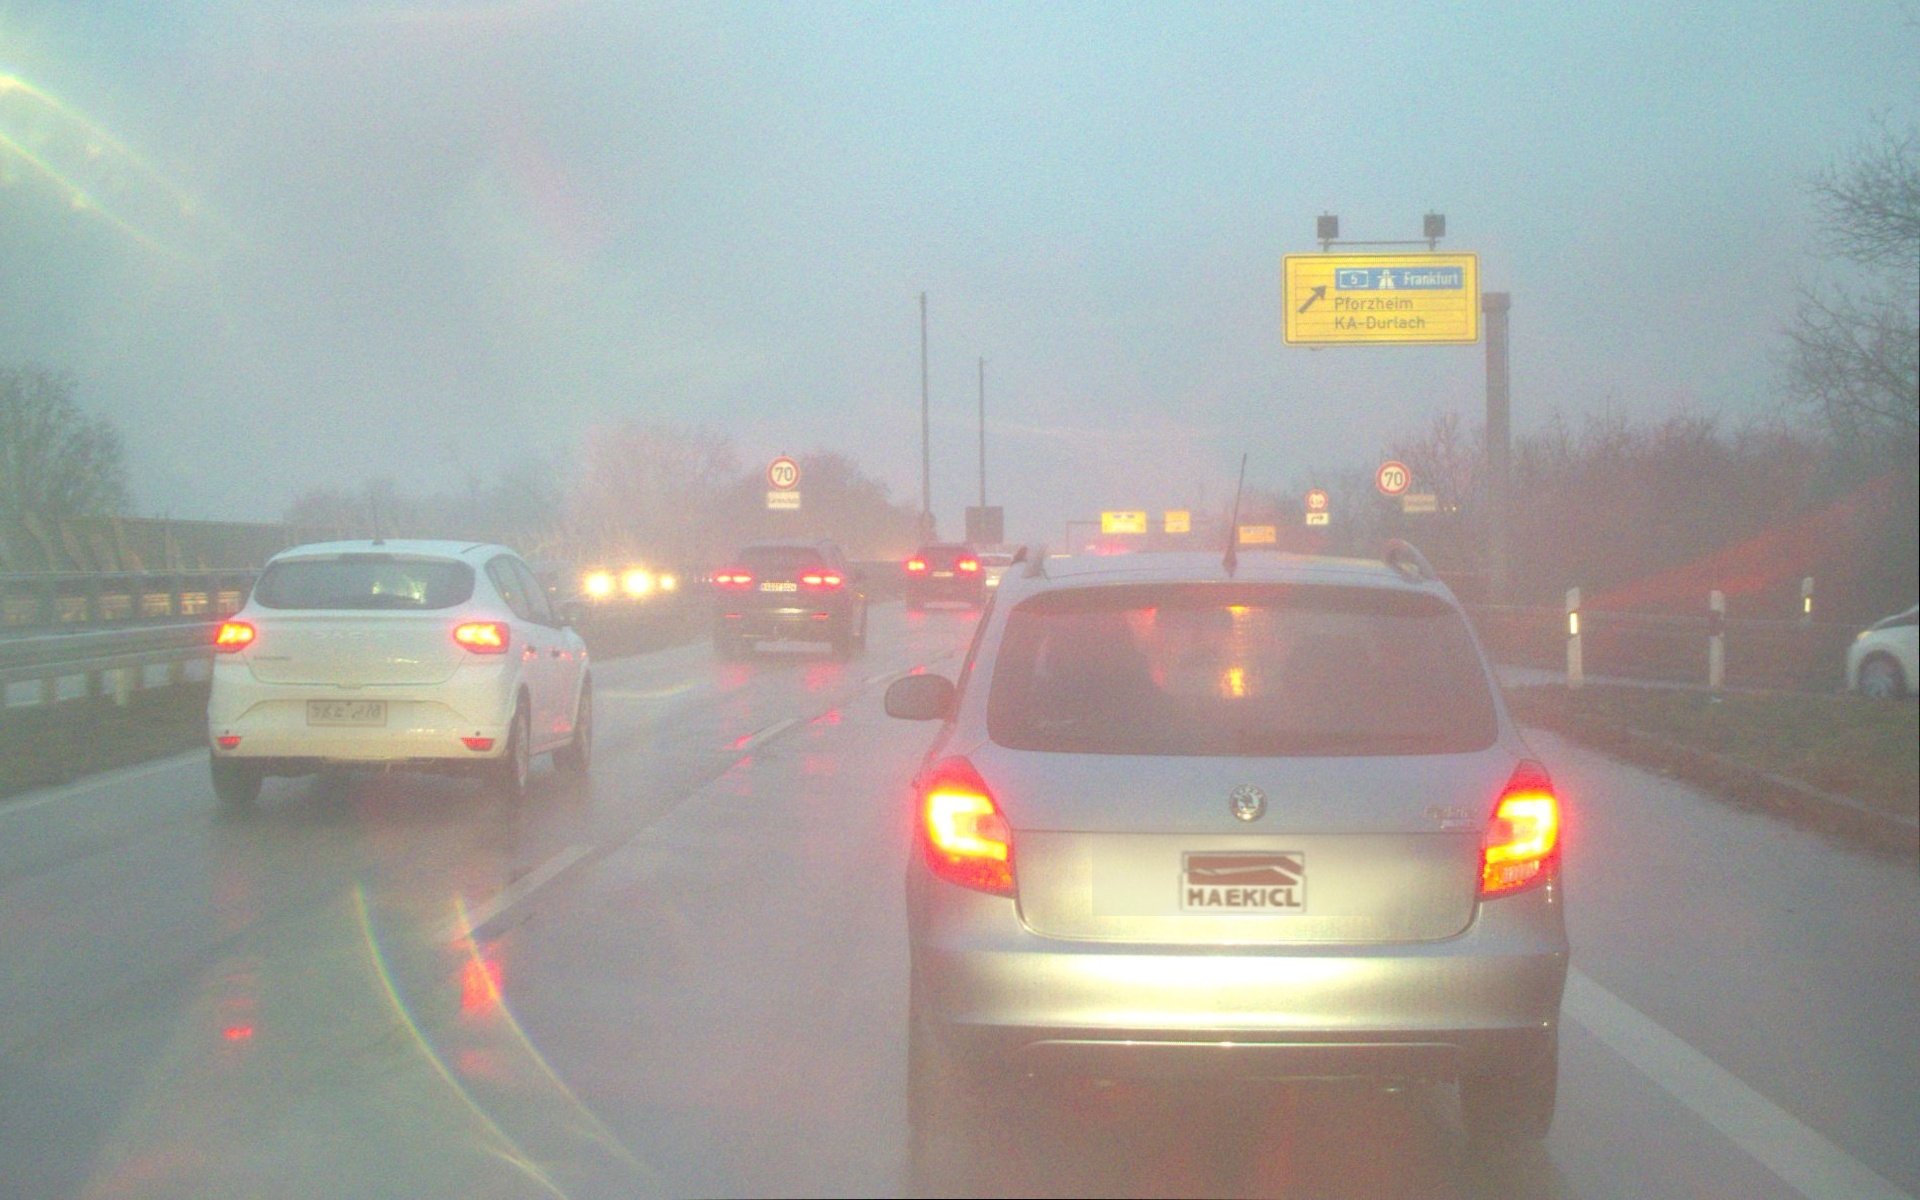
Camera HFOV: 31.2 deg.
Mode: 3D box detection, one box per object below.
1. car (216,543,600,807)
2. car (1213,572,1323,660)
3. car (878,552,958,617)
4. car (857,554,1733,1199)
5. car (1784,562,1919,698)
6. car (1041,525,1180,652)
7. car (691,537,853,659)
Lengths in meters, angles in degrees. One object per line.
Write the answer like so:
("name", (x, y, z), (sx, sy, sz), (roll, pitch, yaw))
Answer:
("car", (-3.247, 0.385, 20.962), (1.724, 1.435, 4.226), (0, 1, -1))
("car", (5.748, 0.280, 64.511), (1.789, 1.540, 4.000), (-1, 1, 2))
("car", (-1.020, -0.398, 85.405), (1.789, 1.540, 4.000), (-1, 1, 2))
("car", (0.800, 0.625, 9.940), (1.993, 1.495, 4.137), (0, 1, 1))
("car", (10.598, 0.302, 34.942), (1.994, 1.341, 3.999), (-1, 1, -36))
("car", (2.141, -0.205, 49.914), (1.897, 1.761, 4.309), (0, 1, 1))
("car", (-2.605, -0.068, 48.491), (1.993, 1.596, 4.309), (1, 1, 0))
